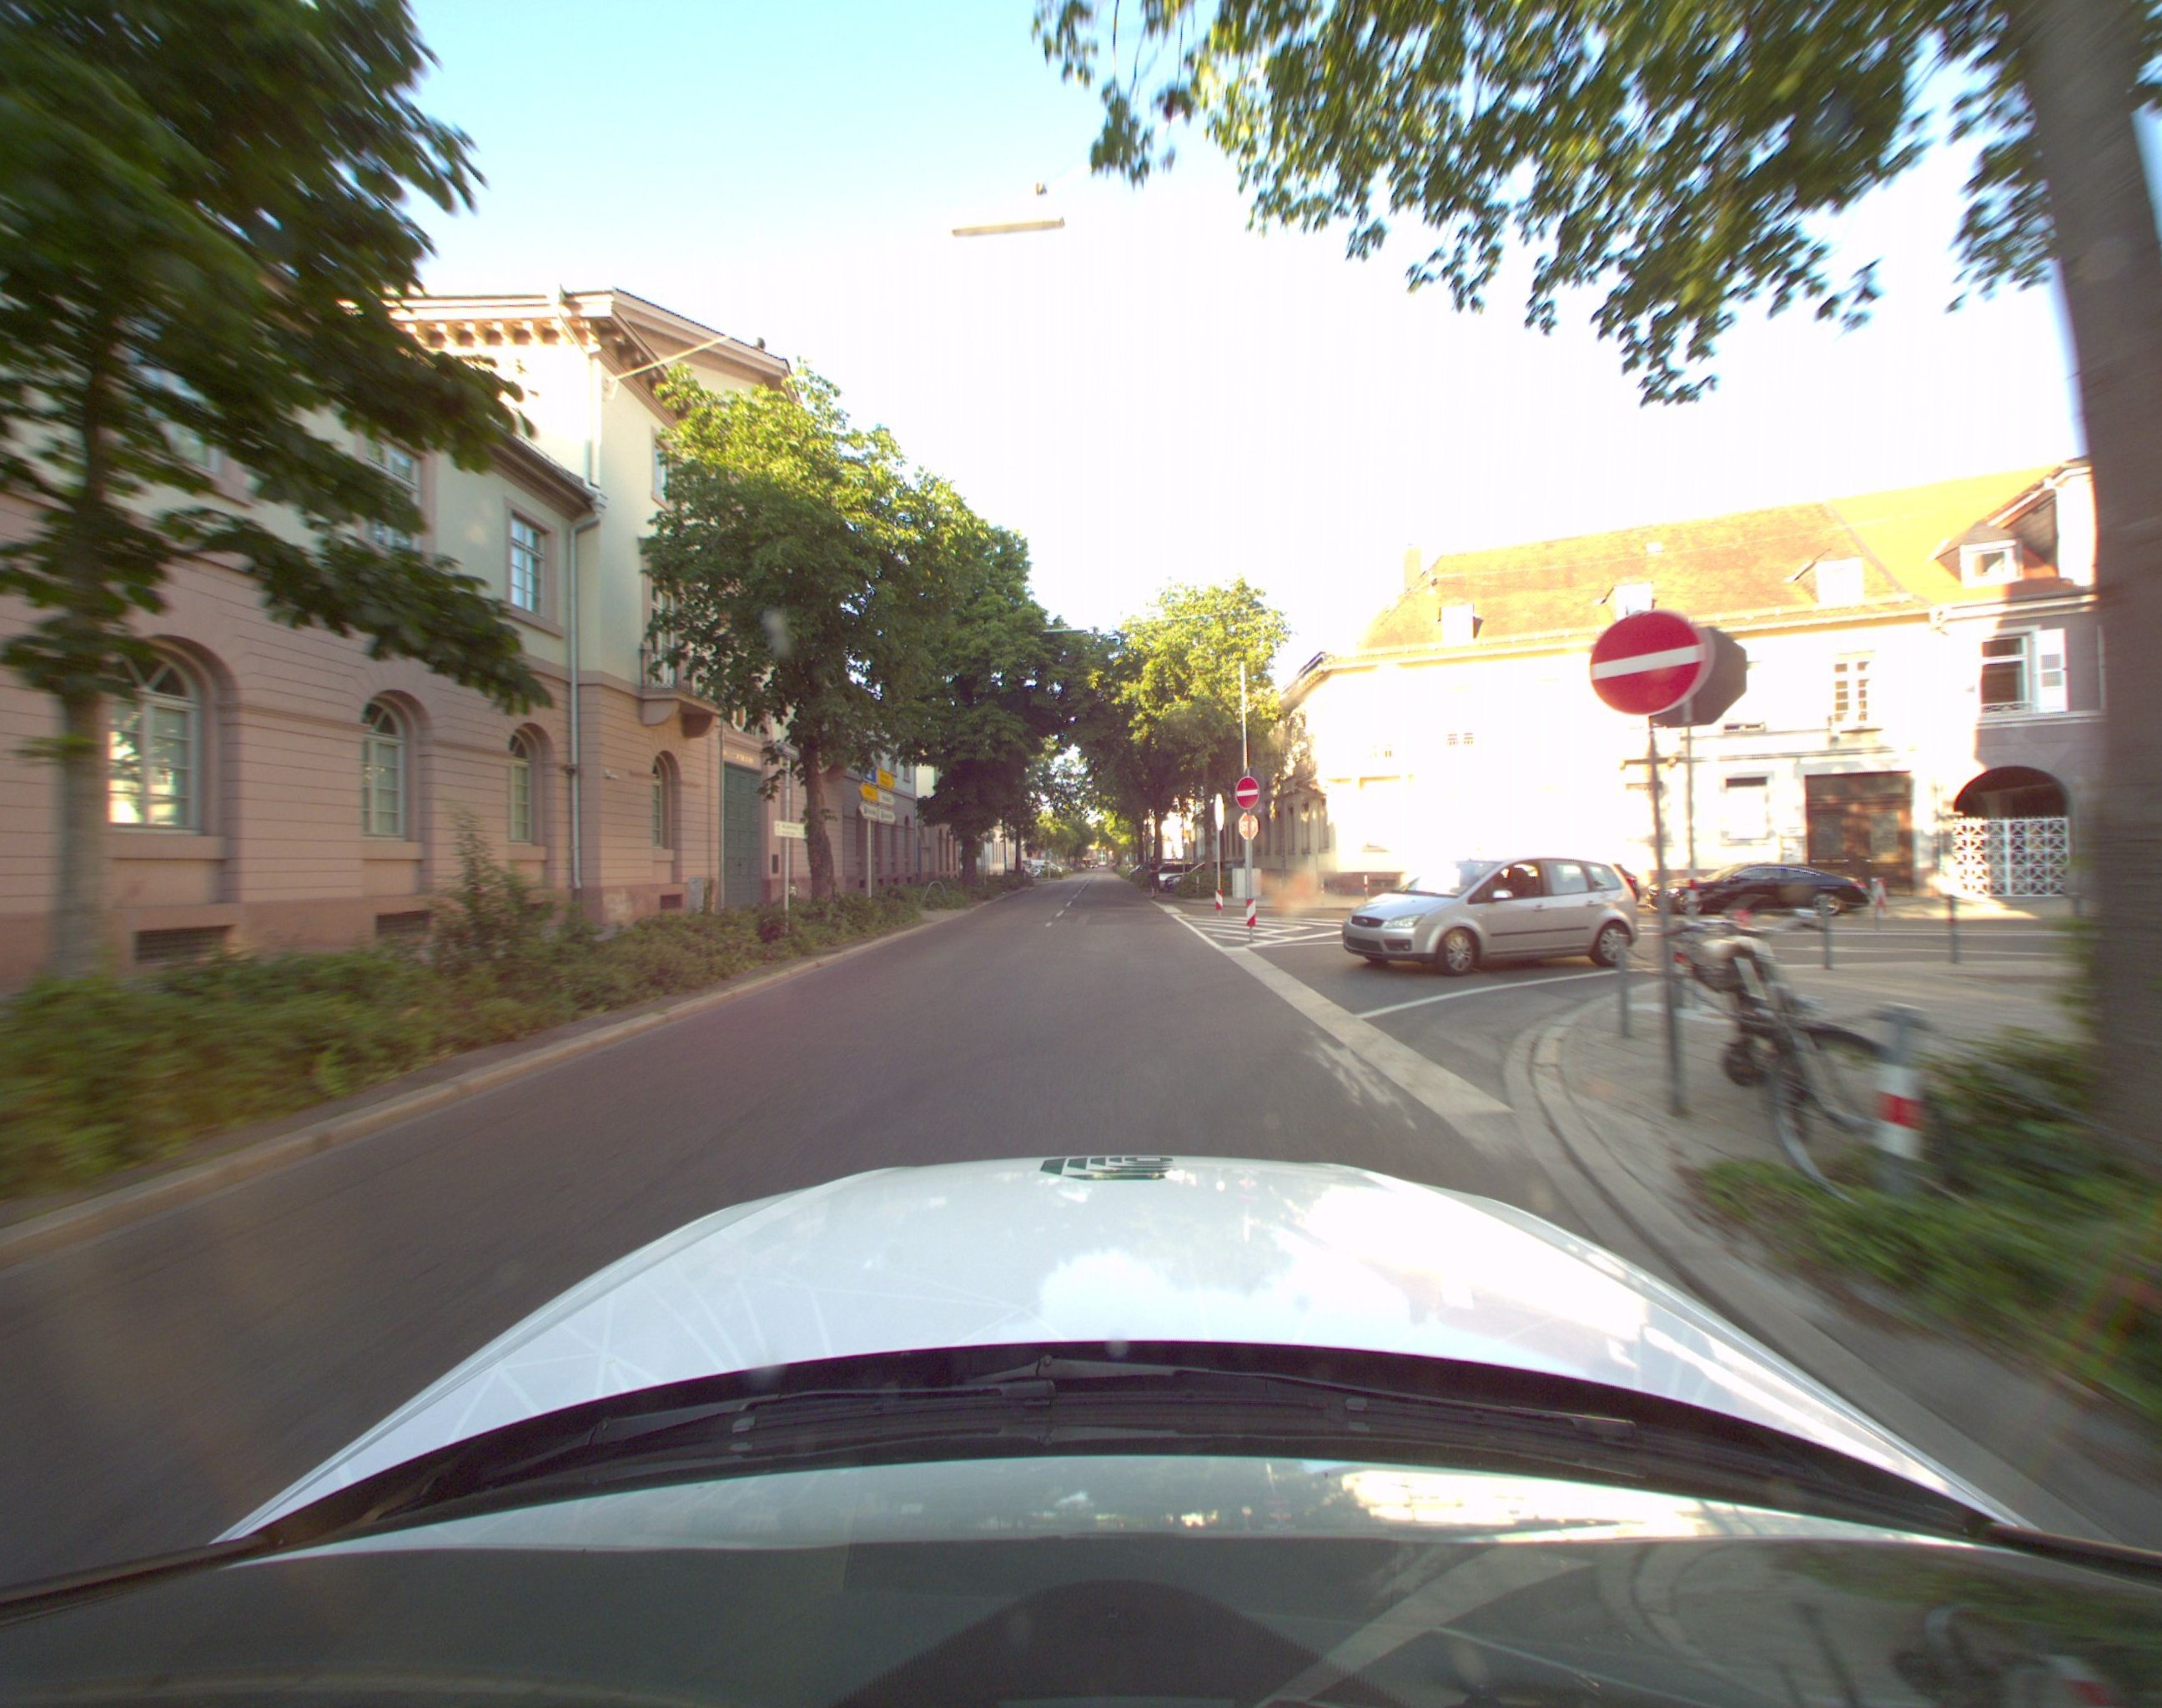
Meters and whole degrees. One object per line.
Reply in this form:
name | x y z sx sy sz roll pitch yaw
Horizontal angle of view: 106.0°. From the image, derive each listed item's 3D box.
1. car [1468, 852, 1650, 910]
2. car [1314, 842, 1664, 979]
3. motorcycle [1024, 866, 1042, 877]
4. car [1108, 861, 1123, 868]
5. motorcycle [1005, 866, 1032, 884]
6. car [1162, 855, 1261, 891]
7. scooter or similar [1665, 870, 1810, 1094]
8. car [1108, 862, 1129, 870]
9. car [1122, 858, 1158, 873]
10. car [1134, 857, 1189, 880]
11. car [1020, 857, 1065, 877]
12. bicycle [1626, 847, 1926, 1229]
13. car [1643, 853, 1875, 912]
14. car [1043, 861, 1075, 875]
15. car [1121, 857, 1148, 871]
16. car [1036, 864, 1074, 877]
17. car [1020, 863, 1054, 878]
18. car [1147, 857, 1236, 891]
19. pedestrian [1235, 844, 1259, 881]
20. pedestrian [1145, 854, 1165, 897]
car | 13.734 0.763 23.674 4.368 1.543 1.878 -1 -1 27
car | 5.746 0.700 11.585 4.348 1.654 1.875 -1 -1 -17
motorcycle | -4.741 1.757 80.521 1.630 1.068 0.656 -1 -1 1
car | 9.704 2.973 227.321 3.964 1.838 2.005 -1 -1 8
motorcycle | -4.569 1.544 59.905 1.912 1.259 0.591 -1 -1 1
car | 5.698 0.828 36.023 4.094 1.490 1.850 -1 0 0
scooter or similar | 4.244 0.739 5.239 1.281 1.243 0.500 0 -1 -42
car | 7.274 2.374 159.596 3.974 1.442 1.696 -2 -1 -1
car | 7.627 1.438 105.072 4.575 1.762 2.223 -2 -1 2
car | 6.096 1.075 61.934 4.001 1.623 1.780 -2 -1 0
car | -4.502 1.497 95.116 5.046 2.083 2.263 -2 -1 1
bicycle | 2.949 0.669 3.603 0.414 1.372 1.293 -2 -1 13
car | 17.931 0.755 21.839 4.461 1.369 1.786 -1 2 25
car | -3.517 2.257 131.429 5.044 2.083 2.264 -2 -1 2
car | 8.171 1.487 124.191 3.968 2.014 2.002 -1 -1 4
car | -3.648 2.310 115.166 5.041 1.617 2.266 -2 -1 4
car | -4.823 1.774 89.721 3.716 1.508 1.871 -2 -1 -2
car | 5.511 0.995 40.994 4.177 1.480 1.852 -3 -1 1
pedestrian | 7.679 0.386 37.750 0.939 1.706 0.783 -1 0 3
pedestrian | 3.239 0.924 35.557 0.790 1.869 0.753 -1 -1 6
